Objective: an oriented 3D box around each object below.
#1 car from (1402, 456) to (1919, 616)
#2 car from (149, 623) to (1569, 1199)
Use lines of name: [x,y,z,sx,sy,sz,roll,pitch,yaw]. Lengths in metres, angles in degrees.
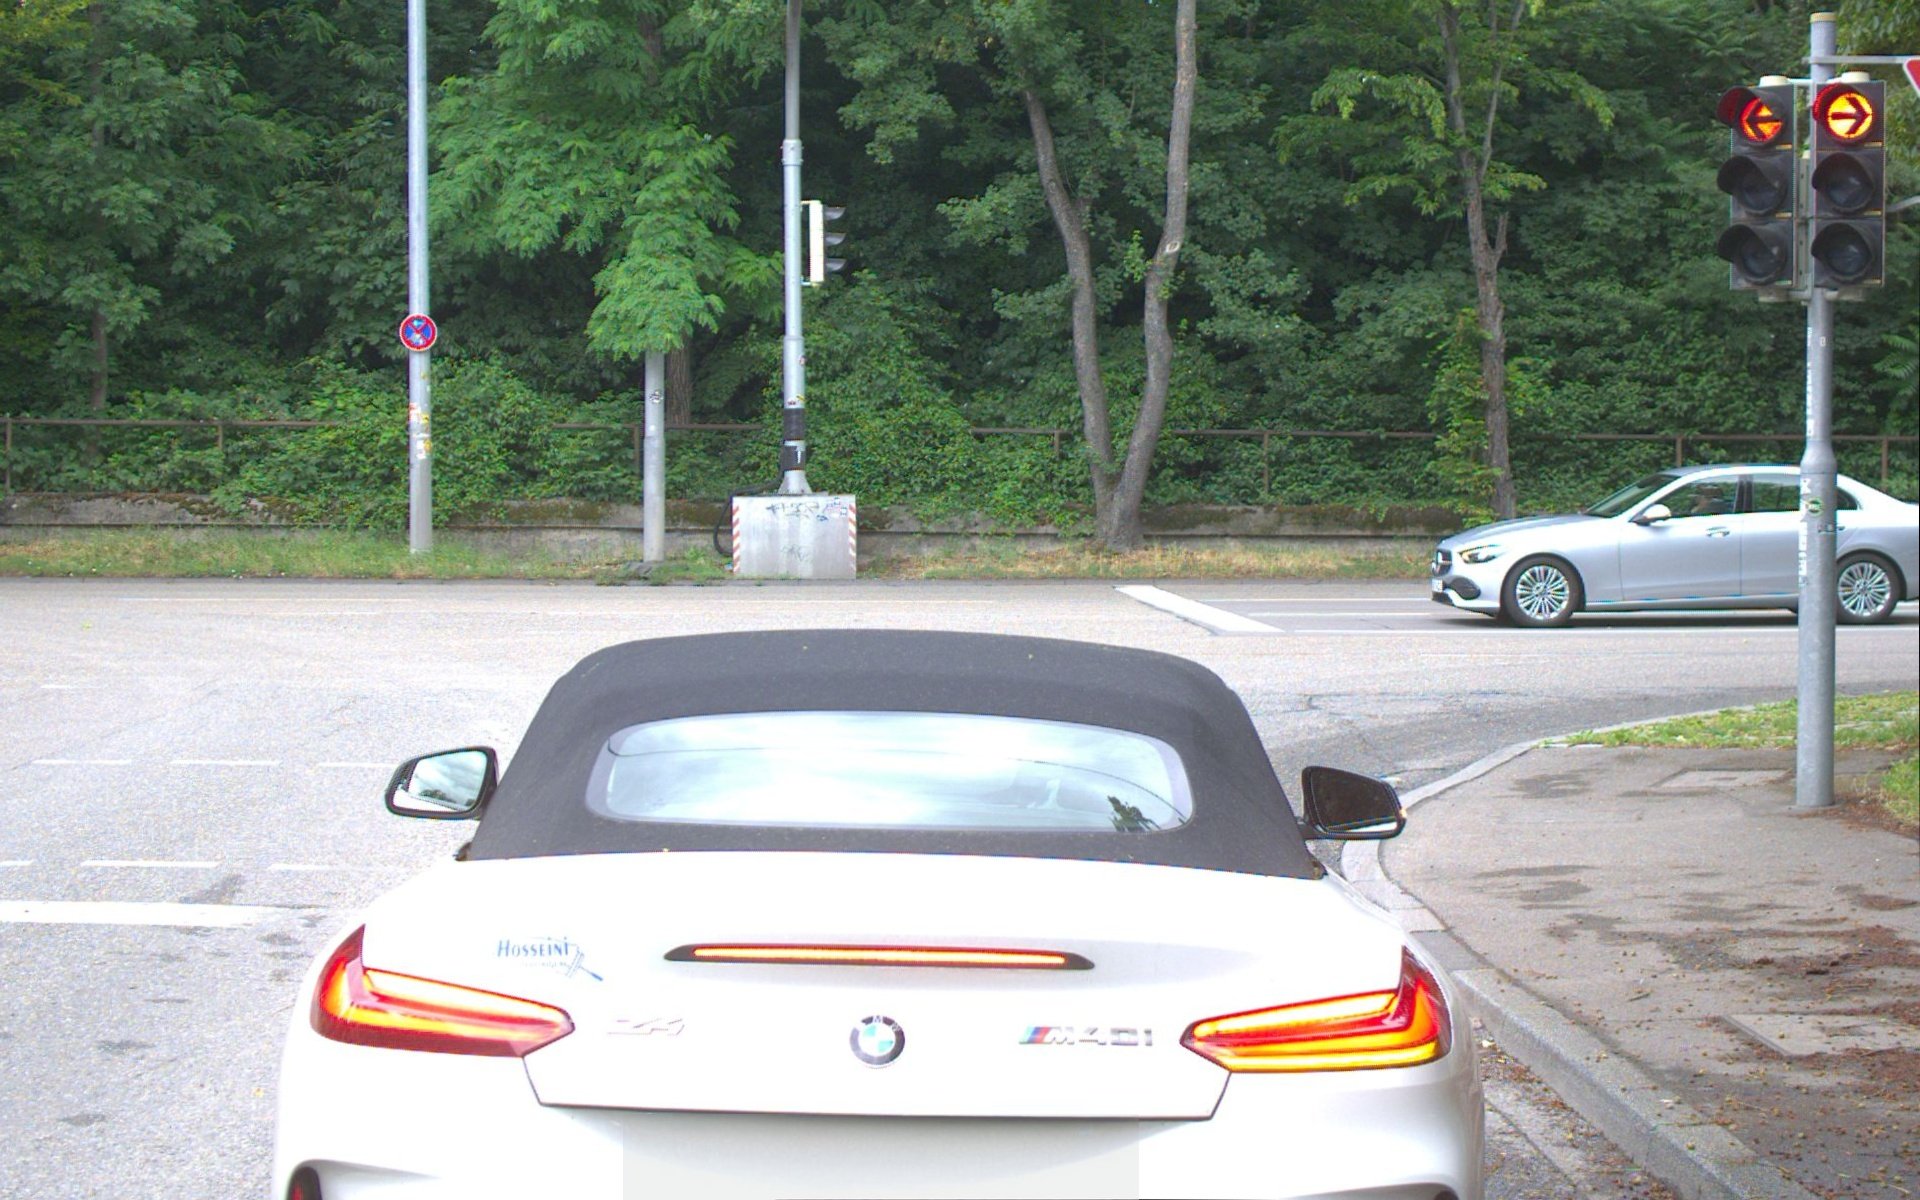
car: [6.524,-0.597,31.048,4.751,1.329,1.834,0,3,-3]
car: [-0.223,0.697,6.467,1.827,1.253,4.000,2,0,-3]
